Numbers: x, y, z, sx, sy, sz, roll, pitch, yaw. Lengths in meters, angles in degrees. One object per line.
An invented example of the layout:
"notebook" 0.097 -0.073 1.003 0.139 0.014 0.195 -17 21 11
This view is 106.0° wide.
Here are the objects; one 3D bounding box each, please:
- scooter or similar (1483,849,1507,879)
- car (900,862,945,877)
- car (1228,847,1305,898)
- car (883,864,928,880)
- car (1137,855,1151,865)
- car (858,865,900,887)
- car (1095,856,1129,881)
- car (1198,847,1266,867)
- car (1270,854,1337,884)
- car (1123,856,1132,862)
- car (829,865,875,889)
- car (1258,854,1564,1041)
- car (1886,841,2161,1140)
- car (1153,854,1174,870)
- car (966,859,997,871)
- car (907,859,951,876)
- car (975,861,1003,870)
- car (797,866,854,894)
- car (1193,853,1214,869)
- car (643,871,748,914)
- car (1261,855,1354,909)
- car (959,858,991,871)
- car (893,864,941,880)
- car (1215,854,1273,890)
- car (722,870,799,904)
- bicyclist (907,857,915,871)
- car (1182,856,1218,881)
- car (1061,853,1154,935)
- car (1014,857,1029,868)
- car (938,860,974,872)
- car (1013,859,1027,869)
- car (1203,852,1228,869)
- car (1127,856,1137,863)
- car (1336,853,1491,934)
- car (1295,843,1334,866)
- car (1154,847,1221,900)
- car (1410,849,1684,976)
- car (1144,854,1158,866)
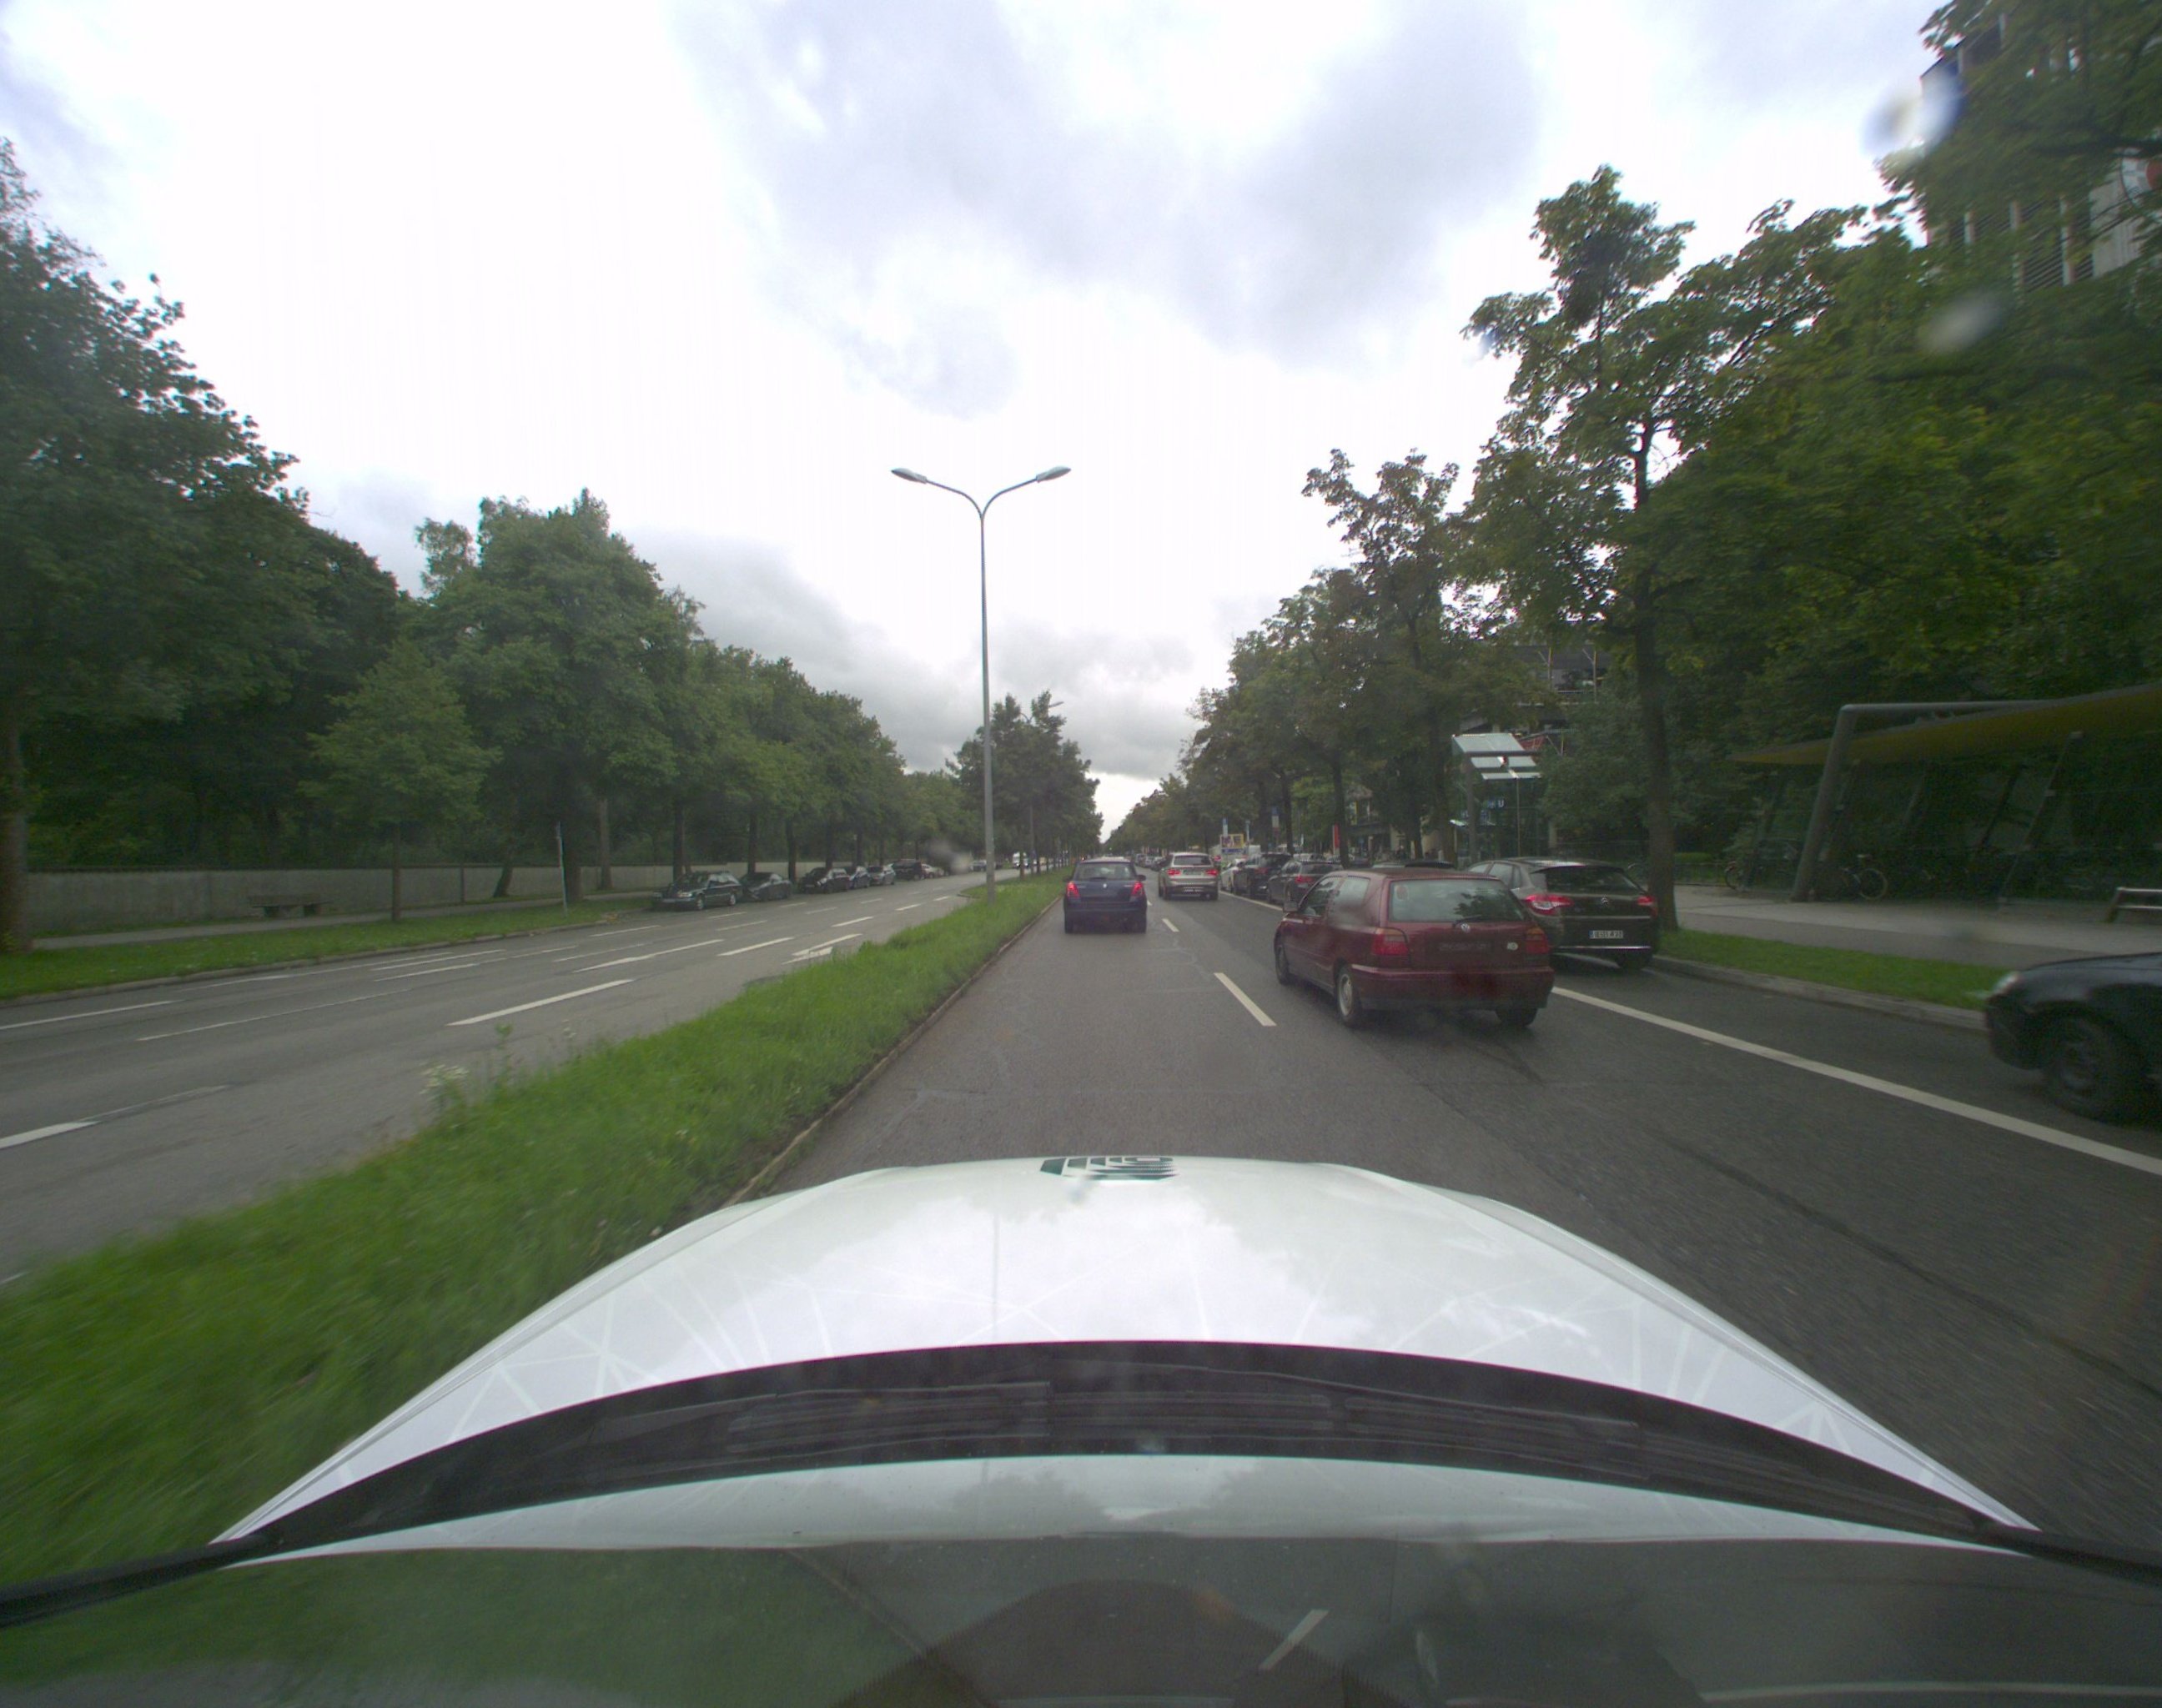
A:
"scooter or similar" 17.515 0.415 34.465 0.418 1.233 1.238 -1 0 4
"car" -15.608 1.520 80.157 4.059 1.381 1.657 -1 0 -34
"car" 6.662 0.622 29.688 1.780 1.675 4.596 -1 0 1
"car" -15.841 1.621 73.458 3.590 1.354 1.737 -1 0 -29
"car" 9.805 0.968 127.368 1.679 1.554 4.304 -1 0 -1
"car" -14.576 1.562 58.890 1.629 1.439 4.812 0 0 3
"car" 1.826 0.852 49.305 1.844 1.447 4.097 -1 0 0
"car" 11.572 0.247 62.388 4.779 1.454 1.699 -1 0 24
"car" 12.828 0.824 46.745 1.948 1.625 4.877 -1 0 39
"car" 10.656 1.139 185.963 1.844 1.447 4.097 -1 0 0
"car" -14.780 1.453 52.701 1.581 1.459 4.799 0 0 0
"car" 3.055 0.750 8.465 1.616 1.454 3.950 -1 0 1
"car" 6.322 0.693 3.595 1.536 1.534 4.092 -1 0 1
"car" 8.411 0.837 83.147 1.758 1.546 4.425 -1 0 1
"car" -14.706 1.598 120.850 4.122 1.585 1.900 -1 0 -32
"car" -15.950 1.415 85.533 4.127 1.597 1.898 -1 0 -37
"car" -14.637 1.840 129.824 4.122 1.474 1.687 0 -1 -32
"car" -14.737 1.465 47.161 1.563 1.503 4.310 0 0 5
"car" 12.708 0.761 84.470 1.678 1.585 4.011 -1 0 2
"car" -15.412 1.492 32.917 1.792 1.490 4.916 0 0 1
"car" 6.652 0.765 24.381 1.627 1.439 4.305 -1 0 1
"car" -15.239 1.542 117.221 4.122 1.695 1.900 -1 0 -32
"car" -15.483 1.722 77.026 4.015 1.354 1.831 -1 0 -33
"car" 6.977 0.748 35.307 1.648 1.434 4.483 -1 0 1
"car" -15.158 1.519 38.778 1.653 1.396 4.708 0 0 2
"bicyclist" -20.706 1.232 99.186 0.702 1.747 0.923 -1 0 1
"car" 7.886 0.949 54.427 1.756 1.589 4.452 -1 0 0
"car" 0.520 0.790 17.831 1.783 1.555 3.999 -1 0 0
"car" -8.954 1.252 122.624 1.907 1.542 4.187 -2 0 0
"car" -16.052 1.543 104.424 4.119 1.501 1.901 -1 0 -29
"car" -10.355 1.700 138.476 1.907 1.542 4.187 -2 0 0
"car" 12.664 0.602 76.831 1.742 1.479 4.008 -1 0 0
"car" 10.835 1.136 172.106 1.844 1.447 4.097 -1 0 0
"car" 6.754 0.740 17.017 1.628 1.453 4.079 -1 0 1
"car" 18.588 0.042 64.977 1.986 1.651 4.002 -2 0 2
"car" 3.741 0.658 29.270 1.844 1.743 4.097 -1 0 0
"car" 6.534 0.722 12.052 1.711 1.508 4.225 -1 0 1
"car" 9.112 0.827 106.131 1.677 1.525 4.458 0 0 2
